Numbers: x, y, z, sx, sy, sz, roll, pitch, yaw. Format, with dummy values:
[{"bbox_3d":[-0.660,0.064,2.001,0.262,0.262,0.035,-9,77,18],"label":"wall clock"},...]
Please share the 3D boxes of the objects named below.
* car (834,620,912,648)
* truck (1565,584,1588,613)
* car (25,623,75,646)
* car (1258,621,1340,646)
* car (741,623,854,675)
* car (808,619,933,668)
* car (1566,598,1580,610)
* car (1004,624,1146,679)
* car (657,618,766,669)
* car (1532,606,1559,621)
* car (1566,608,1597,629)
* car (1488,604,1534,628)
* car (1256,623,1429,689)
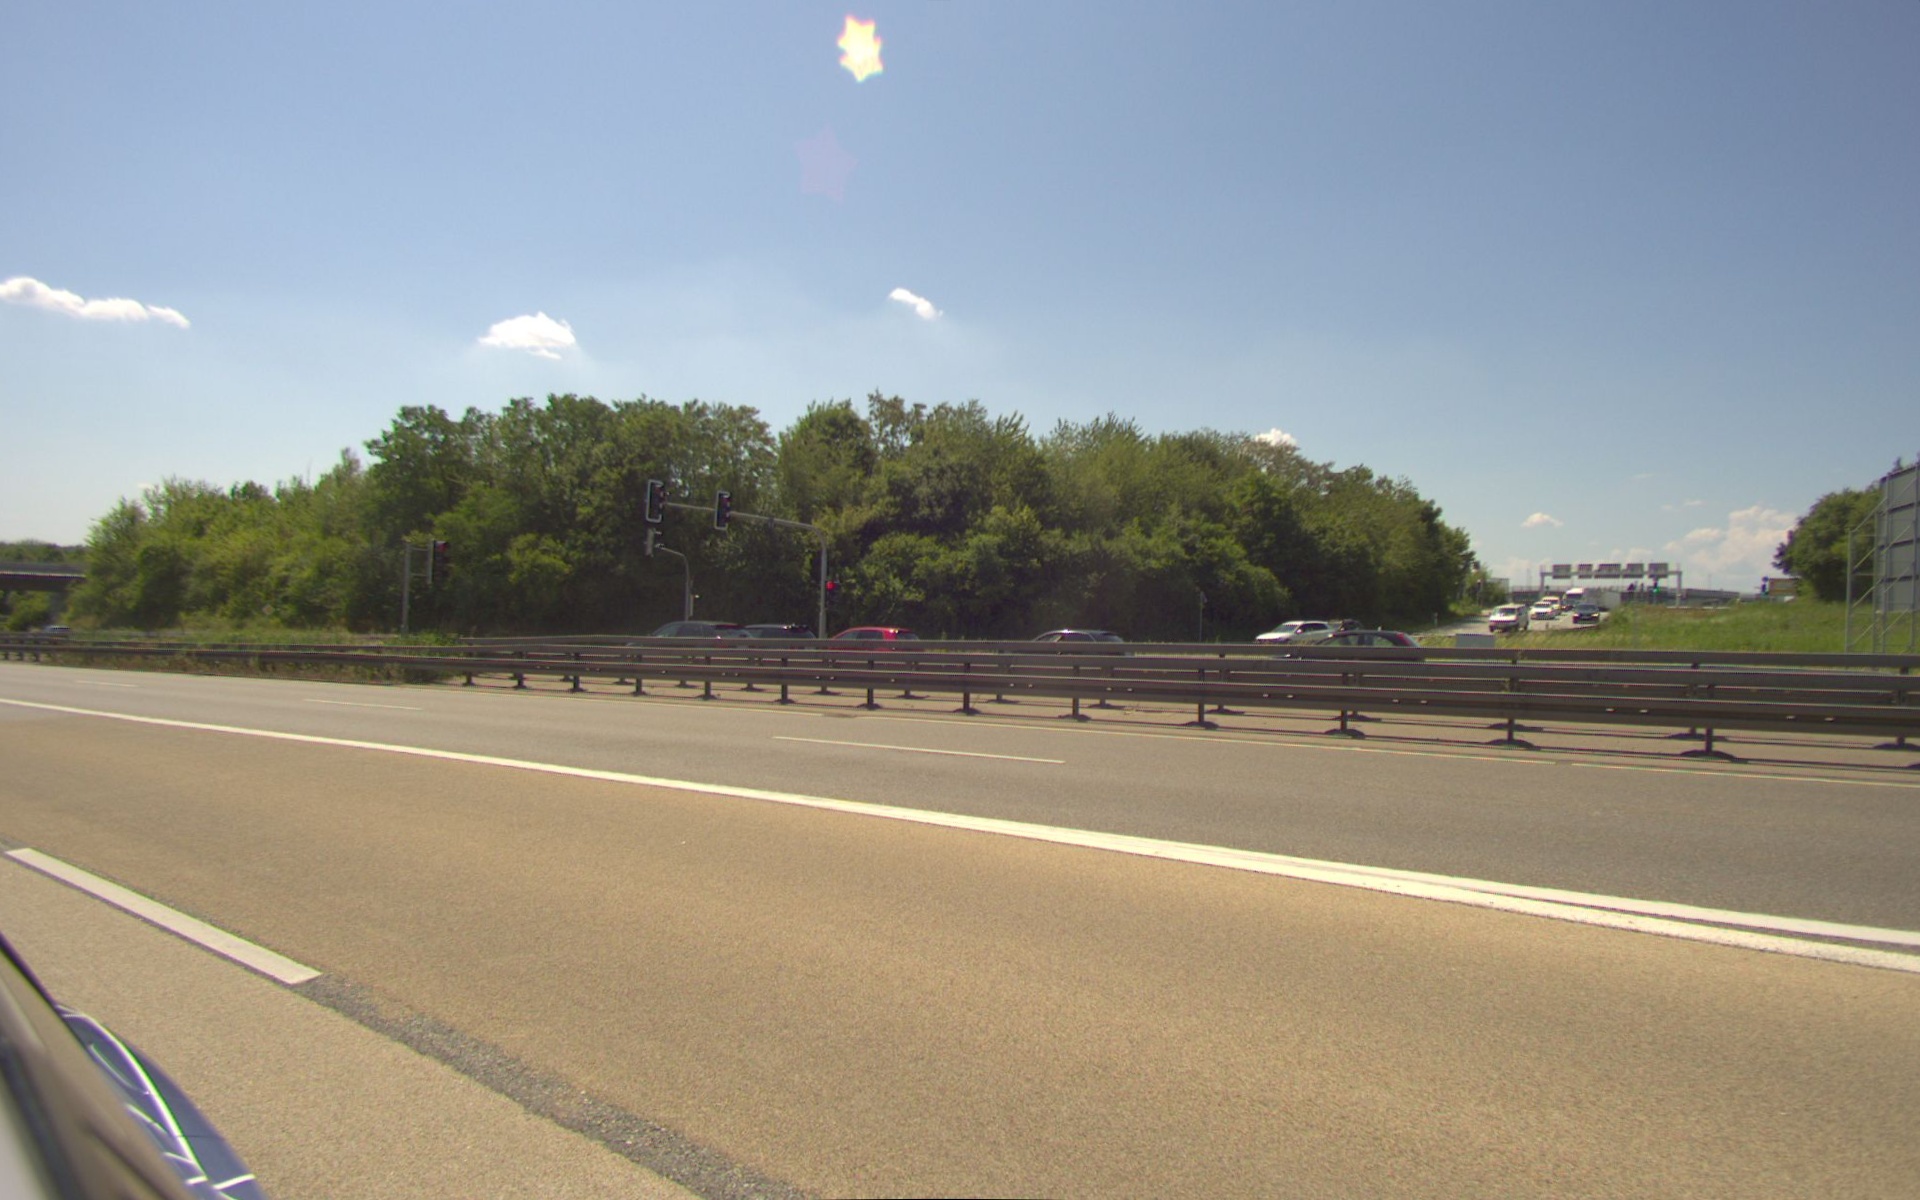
[{"bbox_3d":[-3.916,1.505,45.392,3.314,1.231,1.713,0,-1,-11],"label":"car"},{"bbox_3d":[93.547,-0.179,153.595,2.822,4.190,3.957,-1,-1,32],"label":"truck"},{"bbox_3d":[-66.217,2.500,73.635,3.987,1.580,1.700,-1,-1,32],"label":"car"},{"bbox_3d":[16.949,1.651,50.550,3.877,1.231,1.715,1,-1,-28],"label":"car"},{"bbox_3d":[-4.528,1.342,28.121,3.007,1.359,1.330,-1,-1,33],"label":"car"},{"bbox_3d":[-2.812,1.339,31.724,3.688,1.461,1.552,-1,-1,29],"label":"car"},{"bbox_3d":[80.216,0.592,132.416,1.594,1.443,3.532,-1,-3,31],"label":"car"},{"bbox_3d":[3.144,1.370,27.884,3.560,1.404,1.636,-1,-1,33],"label":"car"},{"bbox_3d":[-6.327,1.082,25.743,2.719,1.246,1.144,-1,-1,33],"label":"car"},{"bbox_3d":[53.394,1.201,92.260,1.691,1.346,3.422,-1,-1,39],"label":"car"},{"bbox_3d":[52.129,1.537,84.831,1.995,1.721,4.168,-1,-1,34],"label":"car"},{"bbox_3d":[40.496,1.184,74.384,2.016,1.653,5.044,-1,-2,40],"label":"car"},{"bbox_3d":[9.159,1.296,24.324,3.656,1.461,1.471,-1,-1,33],"label":"car"}]
